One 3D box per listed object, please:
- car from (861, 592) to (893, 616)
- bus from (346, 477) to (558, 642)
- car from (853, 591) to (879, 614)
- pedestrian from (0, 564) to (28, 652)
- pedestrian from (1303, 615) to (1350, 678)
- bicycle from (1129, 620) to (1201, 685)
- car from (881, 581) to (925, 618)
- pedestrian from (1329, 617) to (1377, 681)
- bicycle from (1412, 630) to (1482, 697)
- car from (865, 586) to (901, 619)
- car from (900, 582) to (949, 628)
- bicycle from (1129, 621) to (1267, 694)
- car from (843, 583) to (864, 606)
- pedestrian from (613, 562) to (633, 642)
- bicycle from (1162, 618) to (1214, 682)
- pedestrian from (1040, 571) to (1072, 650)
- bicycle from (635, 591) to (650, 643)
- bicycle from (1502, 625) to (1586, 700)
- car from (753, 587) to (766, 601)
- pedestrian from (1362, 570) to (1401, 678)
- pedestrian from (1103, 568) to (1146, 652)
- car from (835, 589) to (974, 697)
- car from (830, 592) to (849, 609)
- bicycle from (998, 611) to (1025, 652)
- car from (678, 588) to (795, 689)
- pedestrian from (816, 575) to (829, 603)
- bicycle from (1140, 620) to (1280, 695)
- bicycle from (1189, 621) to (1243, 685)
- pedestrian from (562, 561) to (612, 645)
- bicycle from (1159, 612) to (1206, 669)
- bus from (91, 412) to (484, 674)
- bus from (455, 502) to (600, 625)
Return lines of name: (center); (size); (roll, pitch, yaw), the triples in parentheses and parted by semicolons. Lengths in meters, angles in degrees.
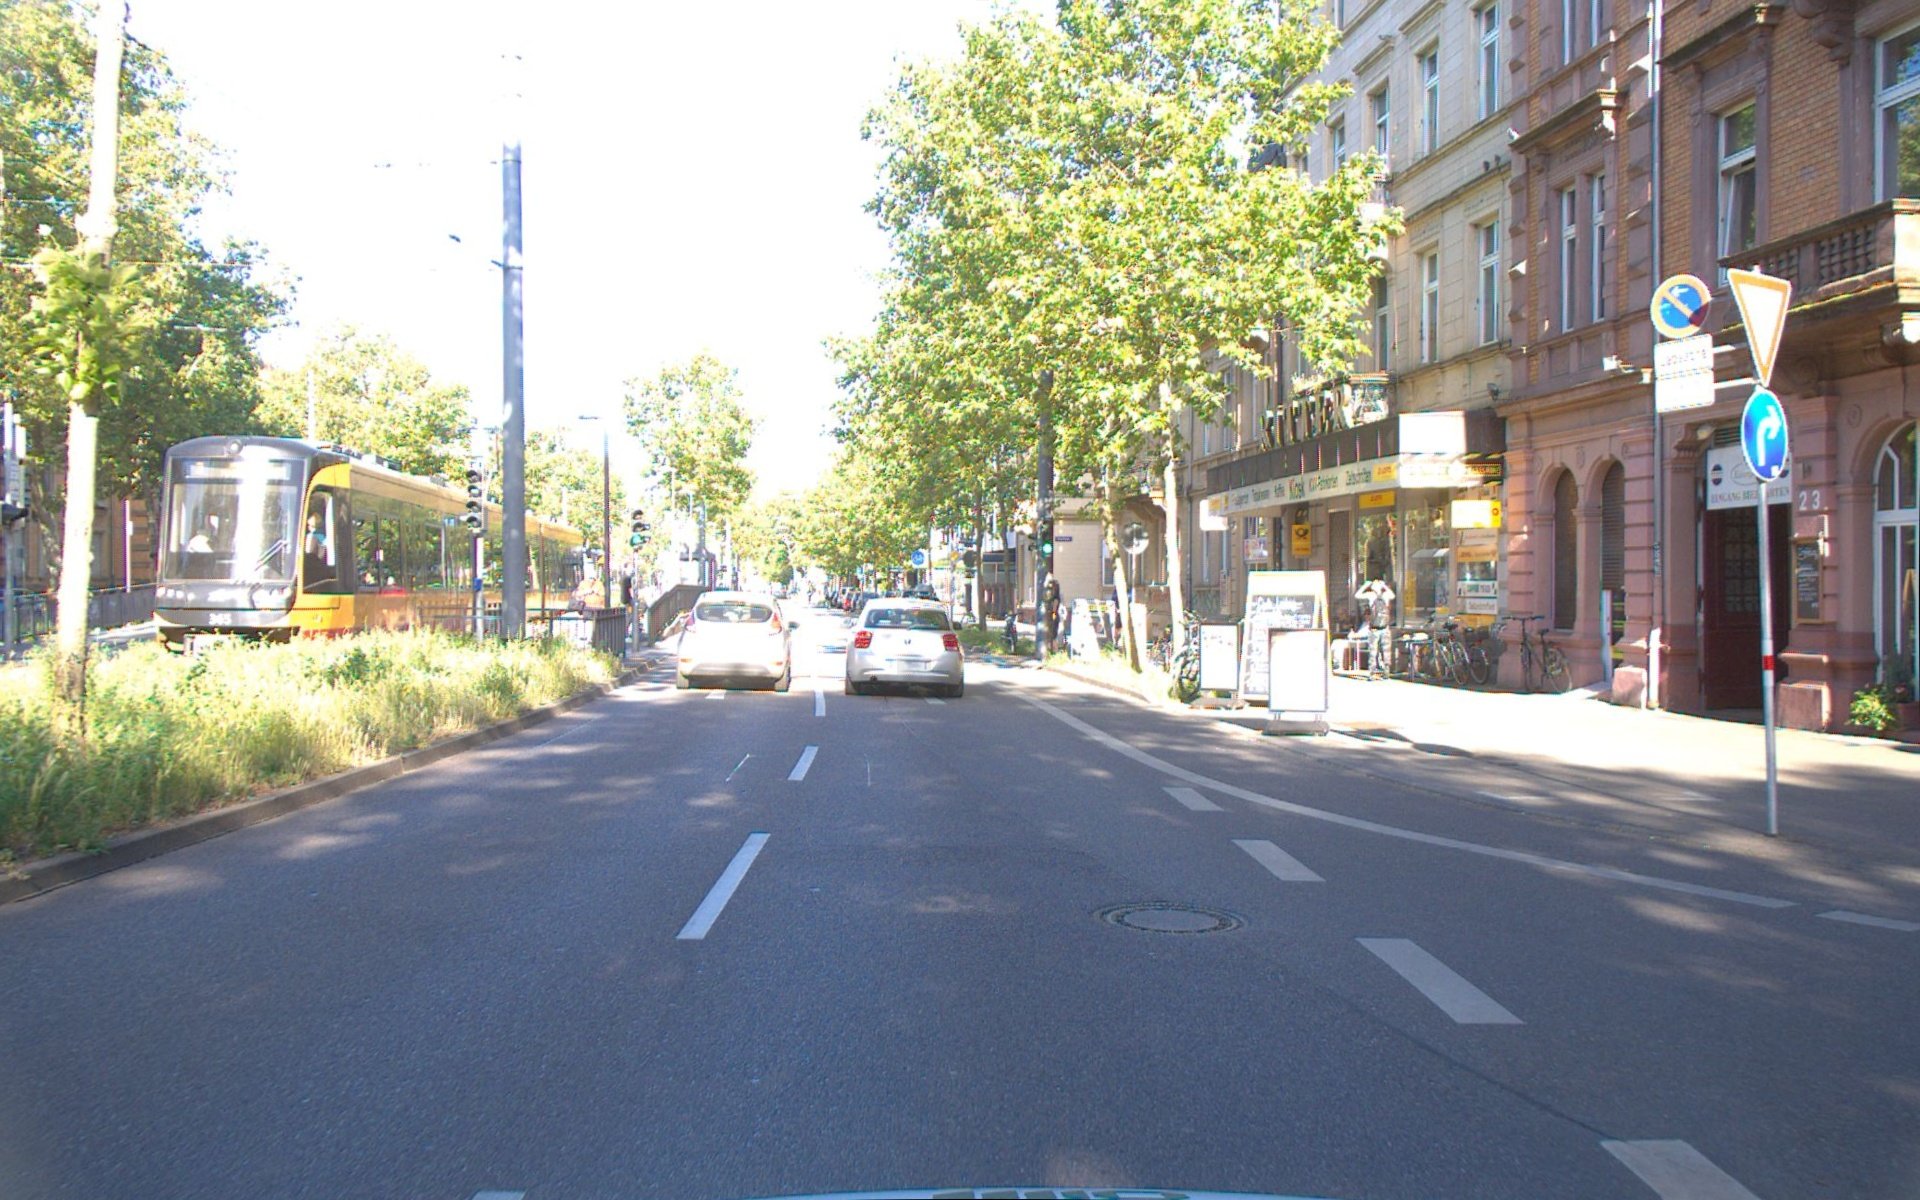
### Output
car: (-5.821, 0.300, 115.491); (1.955, 1.535, 4.591); (2, -1, -6)
bus: (-12.310, -0.885, 41.381); (2.814, 3.504, 12.198); (0, 0, -6)
car: (-6.905, 0.192, 120.722); (1.637, 1.578, 3.995); (2, 0, -6)
pedestrian: (-18.573, 0.154, 31.557); (1.157, 1.672, 0.889); (1, -1, -14)
pedestrian: (7.148, 0.909, 32.245); (0.764, 1.181, 0.464); (2, 0, -32)
bicycle: (3.434, 0.868, 27.844); (0.436, 1.010, 1.678); (2, 0, -21)
car: (-2.783, -0.033, 80.214); (1.764, 1.730, 4.730); (-1, 1, -7)
pedestrian: (7.530, 0.927, 31.679); (0.635, 1.181, 0.608); (2, 0, -18)
bicycle: (8.009, 1.027, 27.279); (0.434, 1.010, 1.686); (2, 0, -7)
car: (-4.182, 0.128, 89.542); (1.659, 1.687, 4.033); (0, 1, -7)
car: (-1.628, 0.196, 74.253); (1.721, 1.999, 4.730); (1, 0, -7)
bicycle: (3.567, 0.867, 24.799); (1.977, 1.010, 0.443); (2, 0, -9)
car: (-9.442, -0.463, 146.497); (1.691, 1.913, 3.994); (2, 0, -6)
pedestrian: (-8.254, 0.056, 40.466); (0.443, 1.936, 0.582); (0, 0, -14)
bicycle: (3.897, 0.842, 28.380); (0.434, 1.010, 1.686); (2, 0, -7)
pedestrian: (2.237, 0.246, 38.462); (0.629, 1.802, 0.868); (2, 0, -1)
bicycle: (-7.825, 0.404, 40.721); (0.322, 1.235, 1.823); (0, 0, -12)
bicycle: (8.613, 0.908, 24.445); (0.434, 1.010, 1.686); (2, 0, -7)
car: (-30.809, -0.927, 254.003); (1.955, 2.049, 3.995); (2, 0, -6)
pedestrian: (7.310, 0.413, 28.677); (0.458, 1.842, 0.773); (2, 0, 25)
pedestrian: (4.093, 0.237, 41.200); (0.864, 2.049, 0.856); (2, 0, -3)
car: (-0.925, 0.594, 25.445); (1.729, 1.457, 3.994); (2, 0, -7)
car: (-11.851, 0.012, 162.548); (1.668, 1.561, 3.711); (2, 0, -6)
bicycle: (1.305, 0.796, 42.118); (0.419, 0.987, 1.748); (2, 0, -6)
car: (-3.411, 0.537, 25.658); (1.615, 1.386, 3.755); (2, 0, -6)
pedestrian: (-10.205, -0.795, 122.387); (0.821, 2.049, 0.648); (2, 0, 0)
bicycle: (3.675, 0.844, 24.307); (1.966, 1.010, 0.443); (2, 0, -9)
bicycle: (4.401, 0.896, 28.476); (0.434, 1.010, 1.686); (2, 0, -7)
pedestrian: (-8.782, 0.064, 38.937); (1.052, 1.949, 1.124); (0, 0, -9)
bicycle: (4.188, 0.756, 31.250); (0.434, 1.010, 1.686); (2, 0, -7)
bus: (-10.924, -0.795, 28.849); (2.814, 3.504, 13.199); (0, 0, -6)
bus: (-13.666, -1.063, 53.227); (2.814, 3.504, 11.595); (0, 0, -6)
